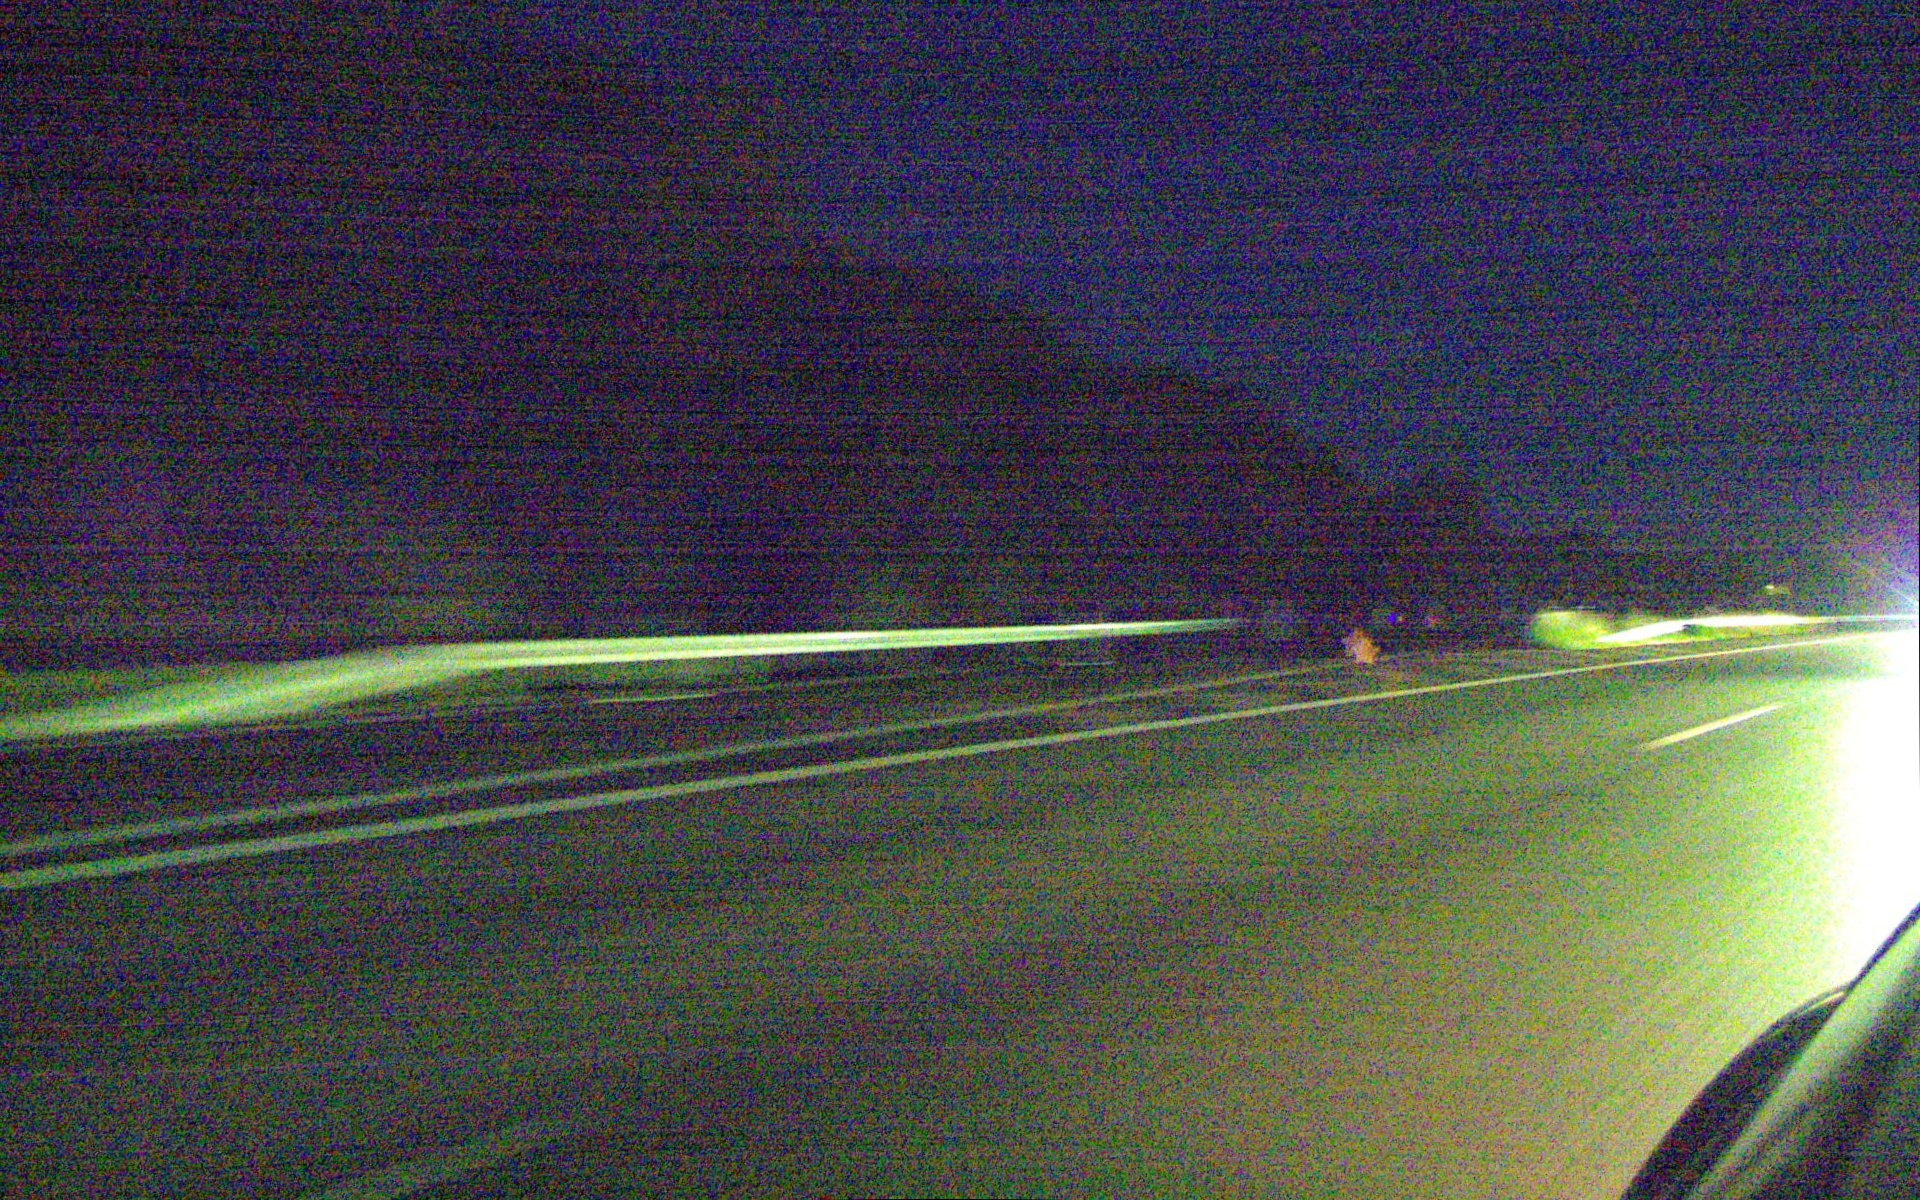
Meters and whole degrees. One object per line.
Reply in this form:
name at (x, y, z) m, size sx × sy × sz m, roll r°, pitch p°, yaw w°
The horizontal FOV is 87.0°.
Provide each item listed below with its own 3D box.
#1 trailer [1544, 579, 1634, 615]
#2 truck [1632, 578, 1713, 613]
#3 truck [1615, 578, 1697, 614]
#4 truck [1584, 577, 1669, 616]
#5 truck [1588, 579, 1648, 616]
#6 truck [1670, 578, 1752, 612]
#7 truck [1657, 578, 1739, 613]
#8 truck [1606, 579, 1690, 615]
trailer at (68.238, -0.299, 110.228) m, size 2.497 × 3.711 × 12.981 m, roll -1°, pitch 0°, yaw 4°
truck at (84.103, -0.495, 119.682) m, size 3.004 × 3.975 × 9.656 m, roll -1°, pitch 0°, yaw 2°
truck at (79.842, -0.445, 116.372) m, size 3.004 × 3.975 × 9.656 m, roll -1°, pitch 0°, yaw 2°
truck at (71.912, -0.353, 109.524) m, size 3.004 × 3.975 × 9.656 m, roll -1°, pitch 0°, yaw 2°
truck at (67.783, -0.257, 104.439) m, size 2.488 × 3.695 × 6.201 m, roll -1°, pitch 0°, yaw 5°
truck at (91.026, -0.579, 122.879) m, size 3.004 × 3.975 × 9.656 m, roll -1°, pitch 0°, yaw 2°
truck at (87.652, -0.540, 120.465) m, size 2.905 × 3.975 × 9.656 m, roll -1°, pitch 0°, yaw 2°
truck at (75.937, -0.281, 112.022) m, size 3.004 × 3.735 × 9.656 m, roll -1°, pitch 0°, yaw 2°
